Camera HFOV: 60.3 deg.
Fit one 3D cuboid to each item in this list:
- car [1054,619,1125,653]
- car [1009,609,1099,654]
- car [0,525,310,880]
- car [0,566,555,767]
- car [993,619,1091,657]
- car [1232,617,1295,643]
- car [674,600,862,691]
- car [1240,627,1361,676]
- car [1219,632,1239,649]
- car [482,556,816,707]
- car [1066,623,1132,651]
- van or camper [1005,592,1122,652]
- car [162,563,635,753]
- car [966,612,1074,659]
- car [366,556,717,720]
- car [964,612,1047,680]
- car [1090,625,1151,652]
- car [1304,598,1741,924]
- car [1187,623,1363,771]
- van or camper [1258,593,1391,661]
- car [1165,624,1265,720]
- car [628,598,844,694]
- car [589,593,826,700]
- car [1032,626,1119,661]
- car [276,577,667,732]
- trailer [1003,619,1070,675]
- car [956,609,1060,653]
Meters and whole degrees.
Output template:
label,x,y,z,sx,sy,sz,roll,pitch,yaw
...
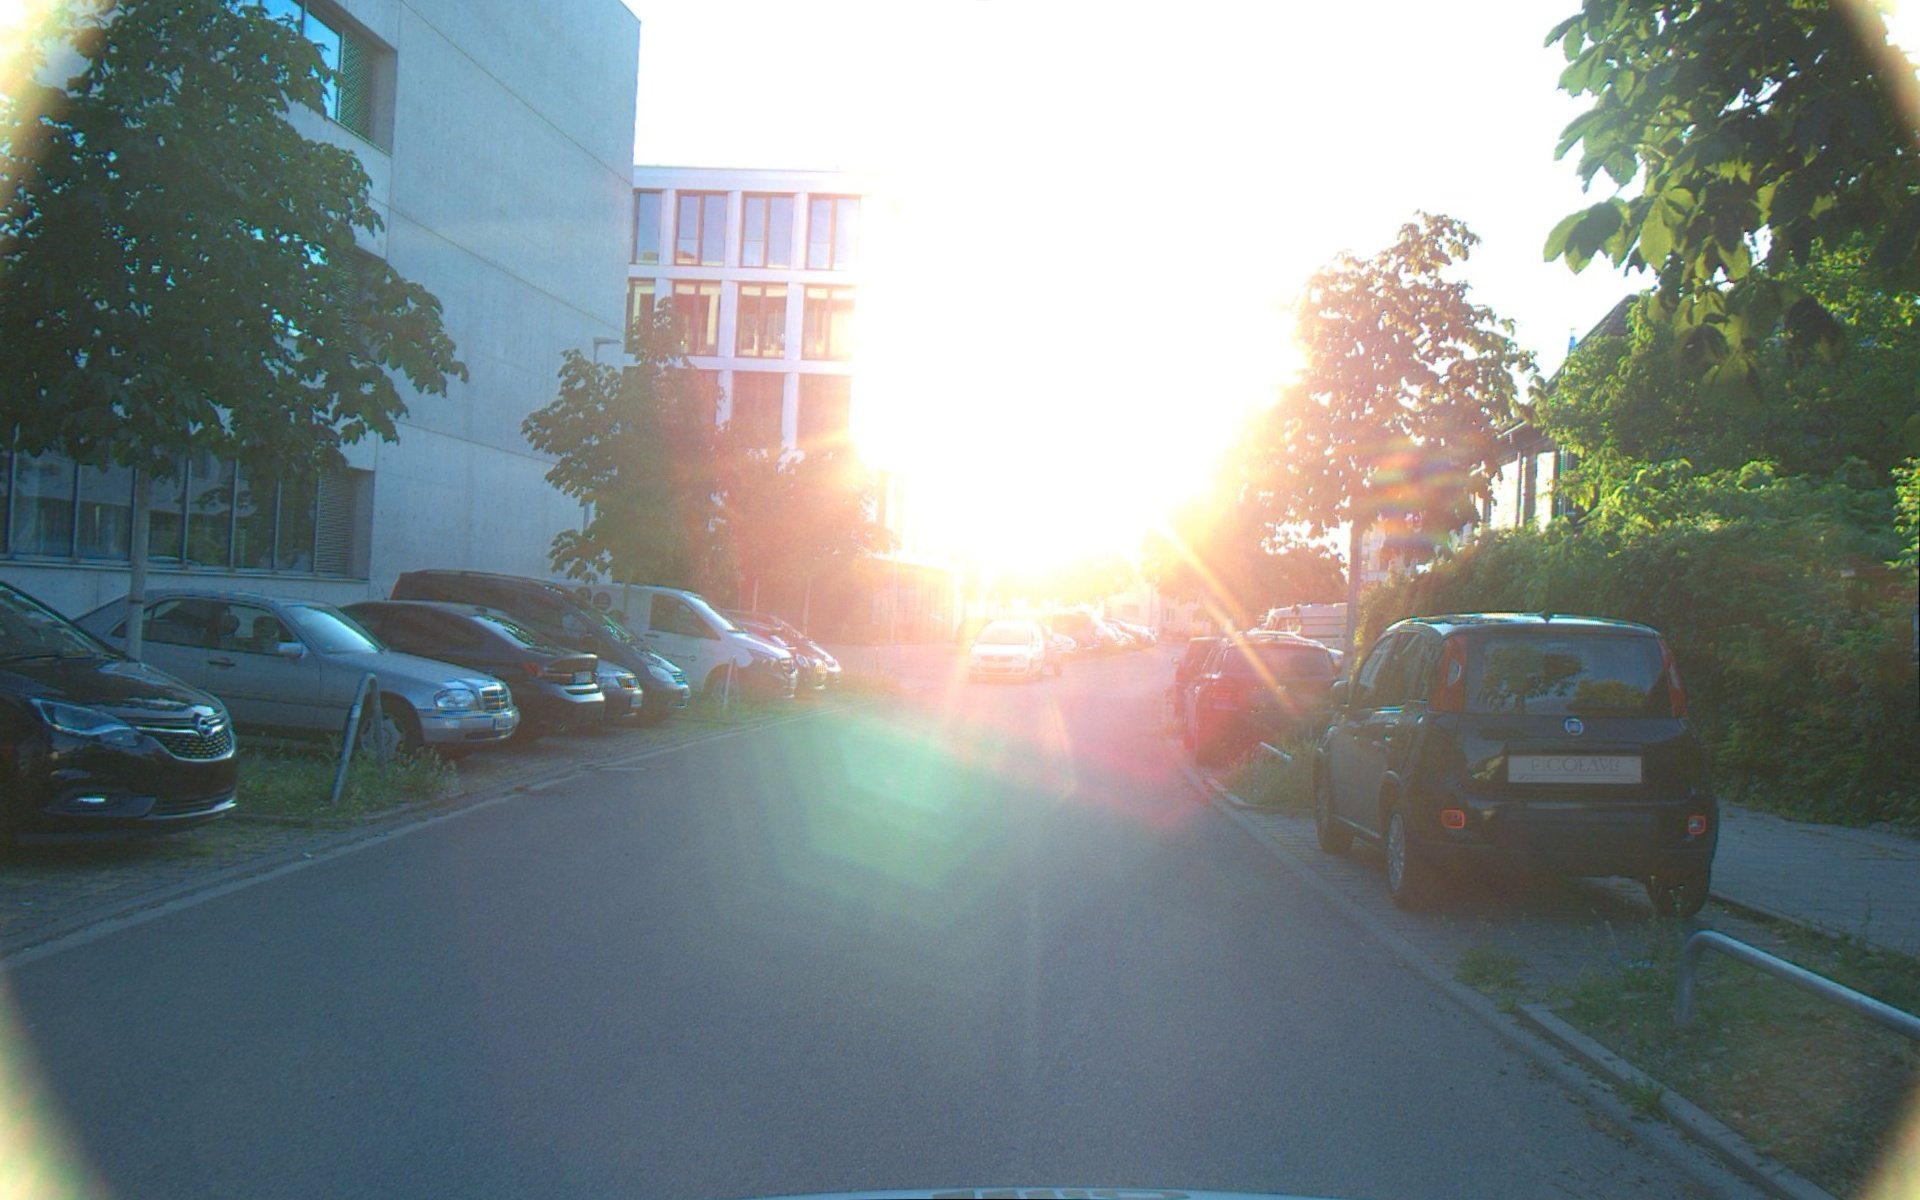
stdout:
label,x,y,z,sx,sy,sz,roll,pitch,yaw
car,6.724,1.849,85.620,3.483,1.681,1.459,1,0,13
car,4.354,1.443,76.159,3.963,1.941,1.737,1,0,9
car,-6.158,0.419,9.200,4.221,1.726,1.896,3,-1,0
car,-6.145,0.559,15.133,4.341,1.489,1.764,3,0,4
car,3.536,1.618,71.306,3.963,1.505,1.769,1,0,13
car,21.319,2.095,116.303,4.249,1.673,1.817,1,0,7
car,-4.090,0.965,35.509,3.558,1.604,1.662,5,0,11
car,11.652,1.752,56.801,3.964,1.505,1.769,1,0,7
car,26.648,3.980,163.777,1.908,1.612,3.643,2,-1,10
car,-5.078,0.514,27.428,4.970,1.980,1.890,5,-1,5
car,7.805,2.068,92.682,3.483,1.505,1.459,1,0,13
van or camper,5.081,1.047,81.100,5.337,2.527,1.777,4,1,13
car,-5.880,0.592,17.579,4.305,1.525,1.764,5,-1,8
car,2.391,1.399,65.565,3.964,1.504,1.769,4,1,10
car,-5.619,0.509,22.515,4.159,1.772,1.725,5,-1,4
car,1.313,1.281,45.564,1.911,1.716,4.724,1,-2,6
car,9.593,2.275,98.726,3.483,1.505,1.459,1,0,13
car,3.102,0.805,9.810,1.544,1.536,3.497,2,-1,3
car,3.658,1.066,19.811,1.657,1.536,4.195,2,-1,5
van or camper,15.914,1.166,72.474,5.490,2.839,2.431,1,0,8
car,4.936,1.317,31.792,1.687,1.607,4.601,3,-1,10
car,-4.354,0.891,32.478,3.805,1.514,1.652,5,0,6
car,-4.551,0.842,30.158,3.904,1.548,1.606,5,-1,4
car,5.511,2.060,78.377,3.963,1.551,1.737,1,0,9
car,-5.799,0.643,19.919,4.058,1.428,1.725,5,-1,4
trailer,2.351,1.400,50.201,1.670,1.372,3.490,5,2,7
car,2.002,1.293,68.894,3.964,1.504,1.769,4,0,13
